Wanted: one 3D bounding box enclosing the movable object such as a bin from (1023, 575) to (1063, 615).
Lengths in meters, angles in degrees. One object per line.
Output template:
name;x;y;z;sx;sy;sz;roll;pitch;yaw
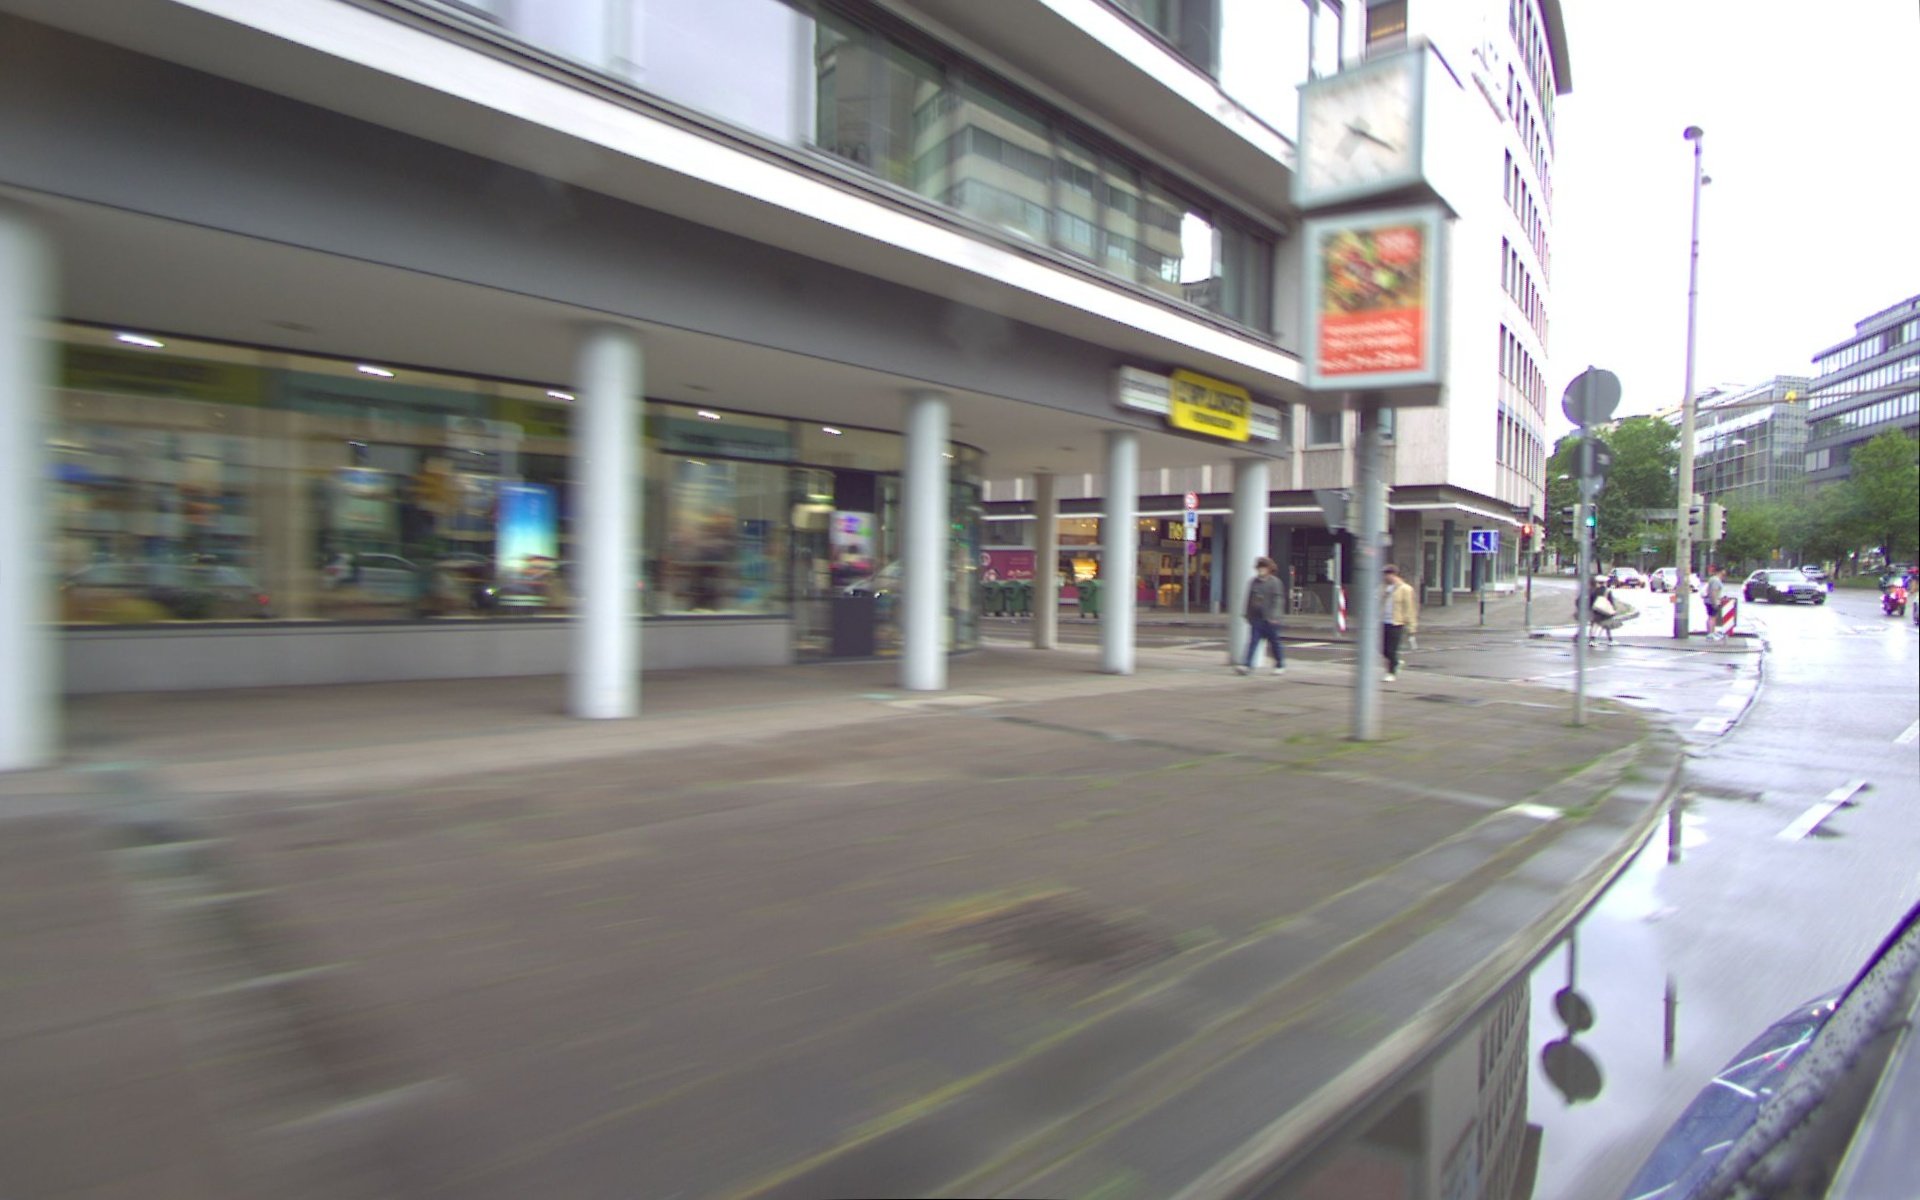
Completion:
movable object such as a bin;3.217;-0.203;39.088;0.982;1.478;1.352;0;1;37

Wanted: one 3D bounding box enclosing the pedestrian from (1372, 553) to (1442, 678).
pedestrian;6.639;0.220;15.043;0.864;1.805;0.640;0;0;-40

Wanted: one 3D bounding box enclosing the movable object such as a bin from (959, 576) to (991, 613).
movable object such as a bin;0.608;-0.230;41.292;0.864;1.478;0.956;0;1;37

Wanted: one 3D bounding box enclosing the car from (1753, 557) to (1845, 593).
car;36.744;-1.108;44.448;1.869;1.504;3.975;-1;2;20

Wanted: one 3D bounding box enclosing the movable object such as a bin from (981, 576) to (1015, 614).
movable object such as a bin;1.500;-0.211;40.319;0.982;1.478;0.950;0;1;37

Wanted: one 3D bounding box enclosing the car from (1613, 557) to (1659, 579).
car;48.283;-2.319;72.376;1.870;1.504;3.972;-1;2;22

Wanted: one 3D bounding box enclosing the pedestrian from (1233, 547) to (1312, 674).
pedestrian;4.628;0.140;14.988;0.879;1.805;0.792;0;0;-43

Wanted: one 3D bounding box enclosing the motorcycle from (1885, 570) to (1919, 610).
motorcycle;32.605;-0.382;34.809;1.126;1.282;3.323;0;2;42

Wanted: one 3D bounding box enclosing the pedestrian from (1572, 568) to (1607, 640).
pedestrian;14.565;0.077;23.413;0.525;1.617;0.719;0;1;44

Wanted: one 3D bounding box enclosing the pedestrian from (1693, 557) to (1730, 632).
pedestrian;17.840;-0.137;24.045;0.649;1.747;0.807;0;1;34

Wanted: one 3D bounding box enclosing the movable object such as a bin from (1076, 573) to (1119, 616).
movable object such as a bin;5.141;-0.223;37.763;0.984;1.530;1.372;0;2;43

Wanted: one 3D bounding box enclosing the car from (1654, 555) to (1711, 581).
car;43.635;-1.920;61.219;1.870;1.504;3.972;-1;2;22

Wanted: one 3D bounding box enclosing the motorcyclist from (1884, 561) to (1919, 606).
motorcyclist;32.584;-0.566;34.823;1.148;1.529;1.179;0;2;43

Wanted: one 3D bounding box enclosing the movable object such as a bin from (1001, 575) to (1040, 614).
movable object such as a bin;2.376;-0.207;39.704;0.982;1.478;1.291;0;1;37

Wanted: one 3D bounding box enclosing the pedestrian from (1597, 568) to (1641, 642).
pedestrian;14.960;0.095;22.962;0.652;1.617;1.042;0;1;44
